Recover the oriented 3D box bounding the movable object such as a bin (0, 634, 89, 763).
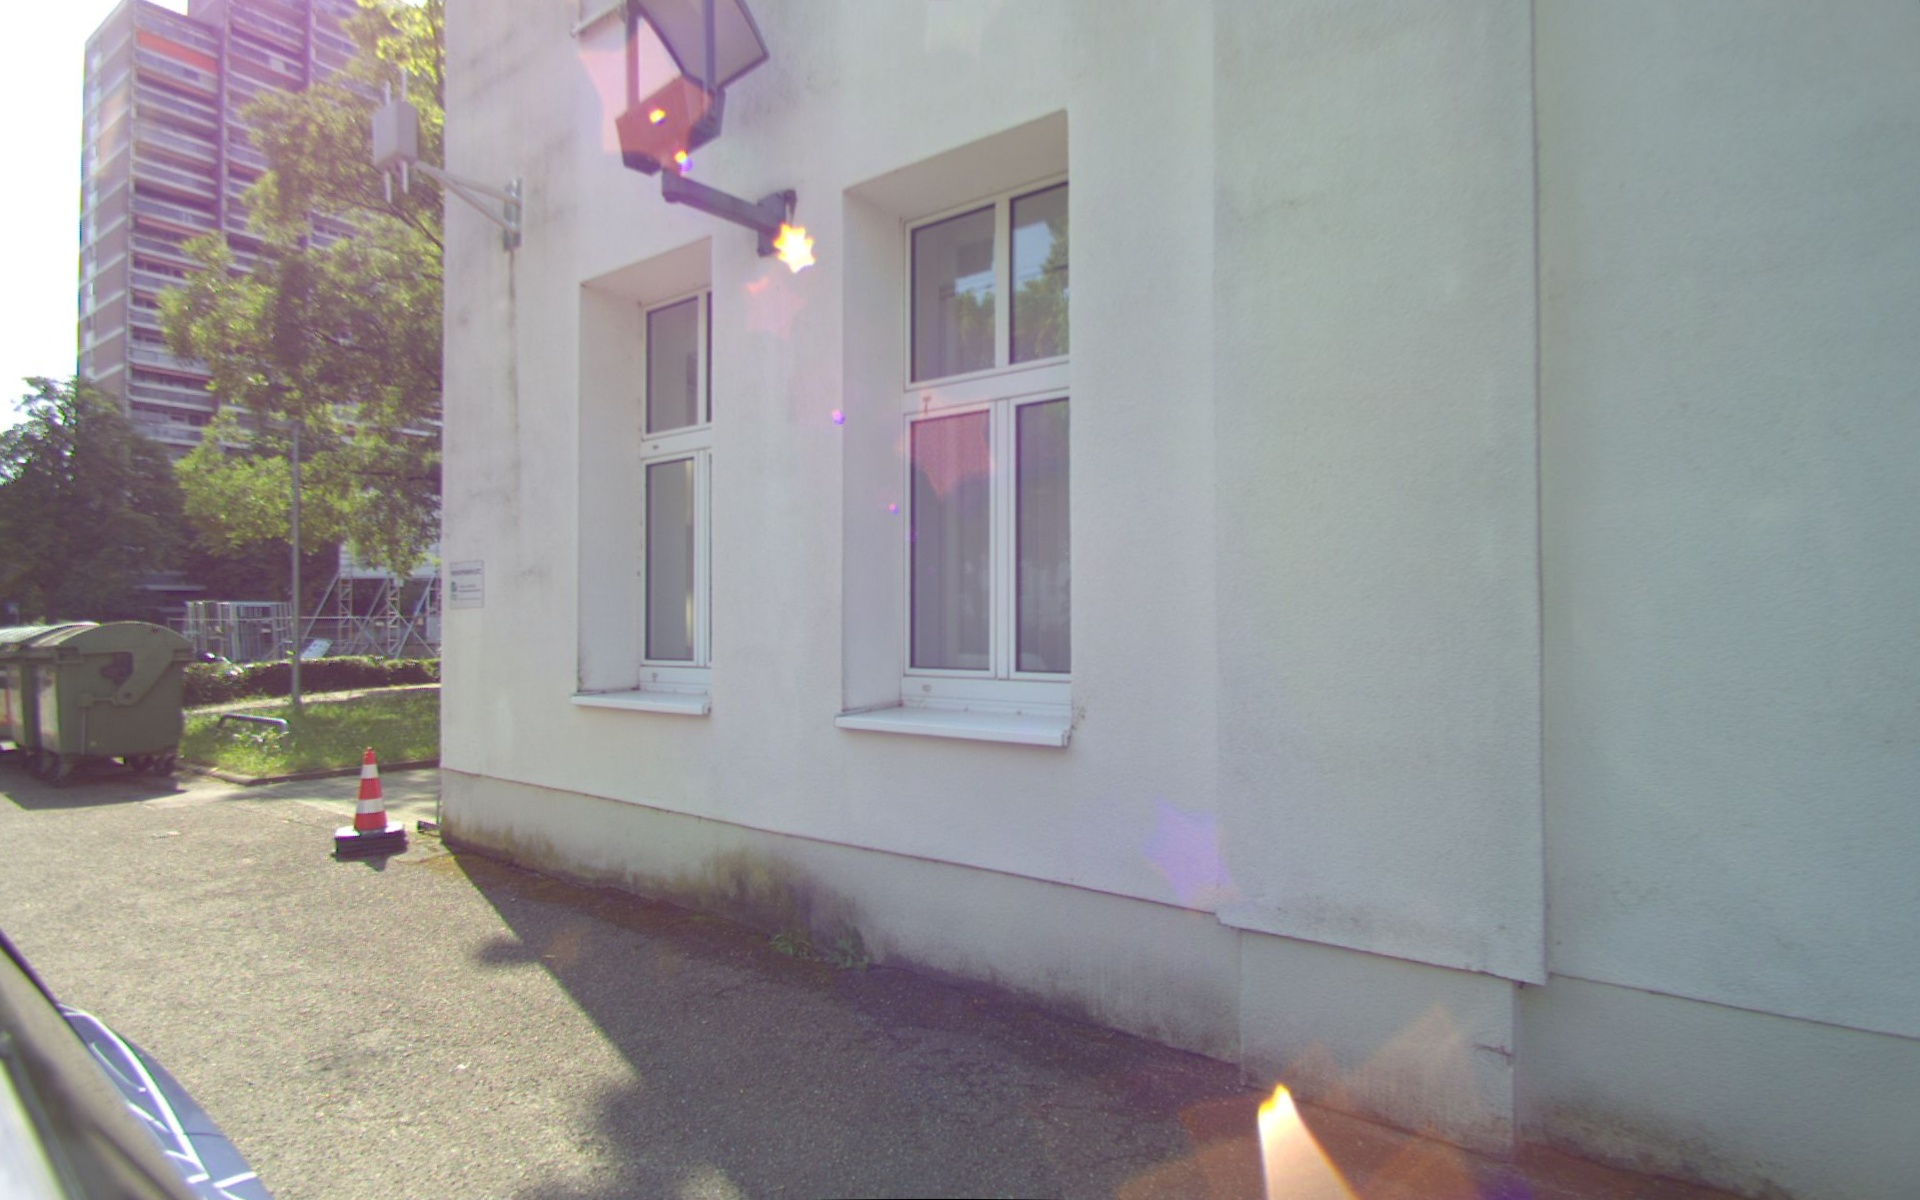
[{"bbox_3d":[-11.381,1.153,12.150,1.339,1.463,1.090,-2,-2,34],"label":"movable object such as a bin"}]

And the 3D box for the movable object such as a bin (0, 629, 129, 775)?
[{"bbox_3d":[-10.279,1.097,11.285,1.227,1.462,1.094,-2,1,24],"label":"movable object such as a bin"}]

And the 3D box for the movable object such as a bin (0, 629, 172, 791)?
[{"bbox_3d":[-9.068,1.080,10.428,1.281,1.462,1.212,-3,0,40],"label":"movable object such as a bin"}]

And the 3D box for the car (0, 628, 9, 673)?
[{"bbox_3d":[-46.714,2.228,46.293,5.252,2.029,1.993,2,0,11],"label":"car"}]

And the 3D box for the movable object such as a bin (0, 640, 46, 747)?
[{"bbox_3d":[-14.103,1.340,14.550,1.229,1.493,1.299,-1,-2,-33],"label":"movable object such as a bin"}]

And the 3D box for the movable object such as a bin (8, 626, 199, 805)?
[{"bbox_3d":[-7.999,1.002,9.453,1.342,1.462,1.089,-1,1,39],"label":"movable object such as a bin"}]
